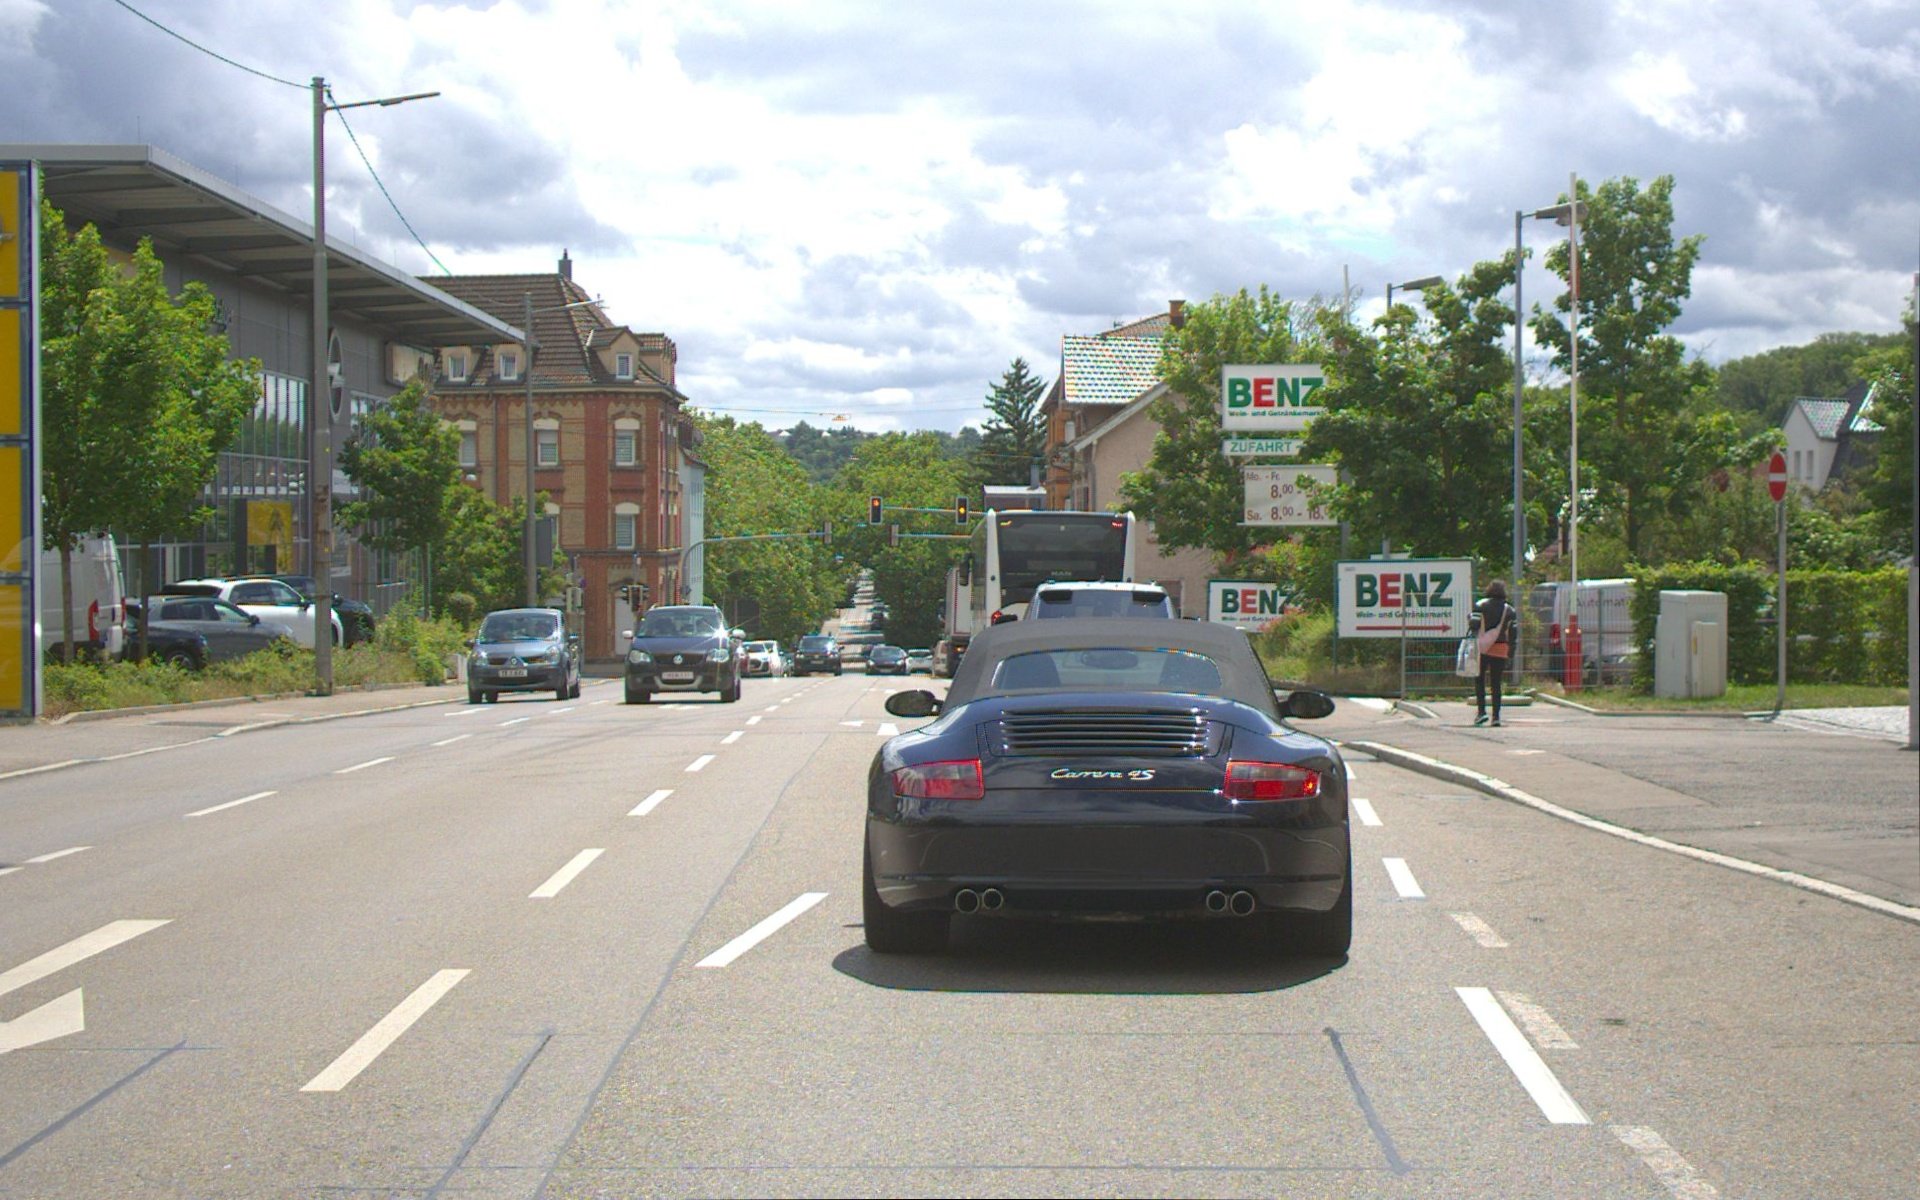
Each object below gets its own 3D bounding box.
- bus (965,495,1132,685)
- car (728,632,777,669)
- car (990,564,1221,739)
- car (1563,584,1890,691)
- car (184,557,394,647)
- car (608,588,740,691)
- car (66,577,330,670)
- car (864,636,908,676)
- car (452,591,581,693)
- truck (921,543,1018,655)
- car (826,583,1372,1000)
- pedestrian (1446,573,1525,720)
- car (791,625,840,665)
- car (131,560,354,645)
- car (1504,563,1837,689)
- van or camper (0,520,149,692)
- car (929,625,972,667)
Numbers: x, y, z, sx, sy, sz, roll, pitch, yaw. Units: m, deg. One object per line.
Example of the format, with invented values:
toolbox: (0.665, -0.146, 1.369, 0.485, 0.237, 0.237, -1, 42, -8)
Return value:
bus: (1.584, -0.344, 63.883, 2.802, 3.187, 12.196, 0, 2, 1)
car: (-8.631, 2.098, 143.296, 1.864, 1.535, 4.107, 0, -1, -1)
car: (1.383, 0.466, 34.371, 1.930, 1.577, 4.209, 0, 1, -3)
car: (11.529, 0.559, 51.894, 4.432, 1.476, 2.000, -1, -1, -1)
car: (-13.766, 0.012, 70.788, 1.996, 1.692, 4.479, 1, 2, 25)
car: (-4.364, 0.589, 52.898, 1.829, 1.504, 4.277, -1, 0, -2)
car: (-13.369, 0.375, 60.610, 1.897, 1.445, 4.825, 1, 2, 27)
car: (-3.180, 2.391, 147.373, 1.864, 1.660, 4.259, 0, -1, -2)
car: (-7.532, 0.693, 58.735, 1.743, 1.590, 4.042, -3, 0, -2)
truck: (0.233, 0.026, 101.420, 2.666, 3.097, 9.035, -1, -1, 0)
car: (0.506, 0.668, 14.295, 1.930, 1.372, 4.208, 0, 2, 0)
pedestrian: (5.596, 0.488, 36.605, 0.687, 1.531, 0.856, -1, 1, -1)
car: (-5.636, 1.772, 134.804, 1.864, 1.535, 4.107, 0, -1, -2)
car: (-13.651, 0.074, 65.711, 1.933, 1.567, 4.548, 0, -1, 23)
car: (11.269, 0.406, 54.721, 4.706, 1.842, 2.089, -1, -1, -8)
van or camper: (-15.045, 0.055, 51.966, 5.026, 2.522, 2.318, 0, 2, -1)
car: (-0.460, 2.141, 161.203, 1.832, 1.875, 4.000, -1, 1, -2)
